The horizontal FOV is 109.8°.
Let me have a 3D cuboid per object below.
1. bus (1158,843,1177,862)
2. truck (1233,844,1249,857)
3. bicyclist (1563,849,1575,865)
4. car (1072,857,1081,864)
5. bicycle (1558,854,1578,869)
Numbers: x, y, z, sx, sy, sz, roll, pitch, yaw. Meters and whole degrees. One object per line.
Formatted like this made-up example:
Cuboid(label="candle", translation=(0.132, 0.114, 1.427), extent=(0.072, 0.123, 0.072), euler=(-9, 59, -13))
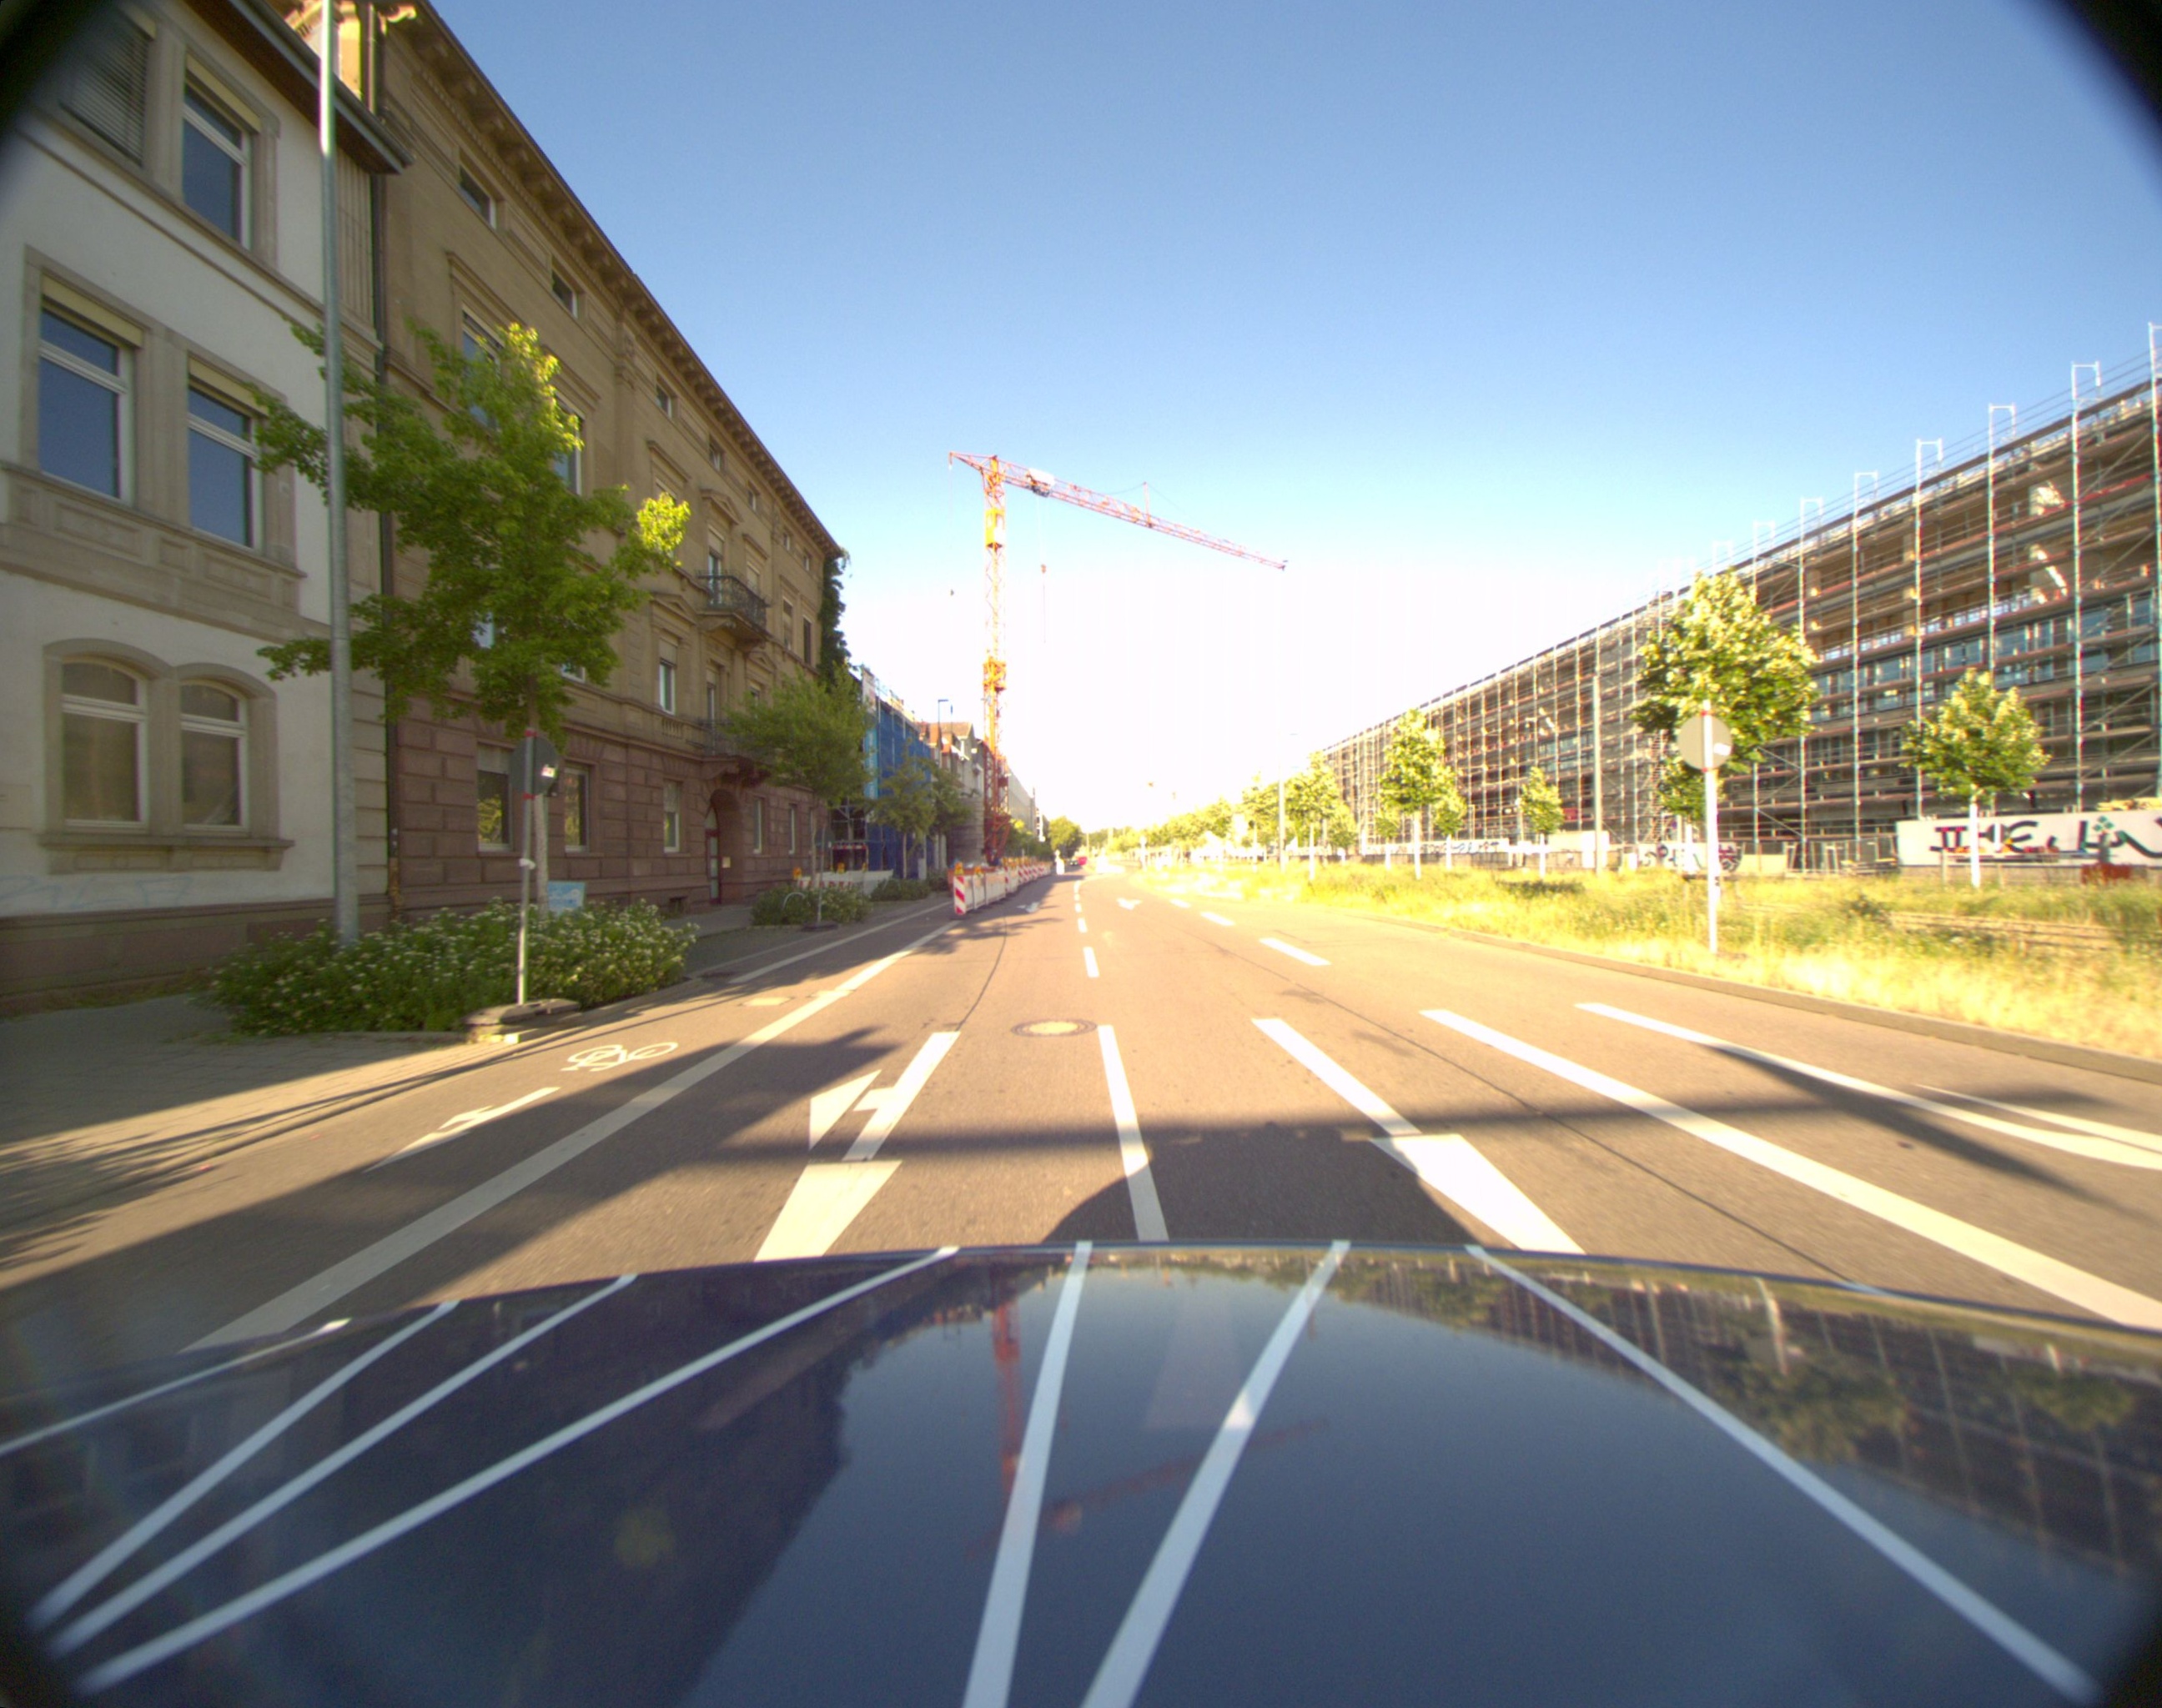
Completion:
Cuboid(label="bus", translation=(15.433, -0.287, 135.895), extent=(2.723, 3.203, 8.658), euler=(-1, 0, 3))
Cuboid(label="truck", translation=(31.173, -0.621, 148.455), extent=(2.143, 2.559, 4.740), euler=(-1, 0, 1))
Cuboid(label="bicyclist", translation=(36.933, 0.213, 57.478), extent=(0.480, 1.147, 0.638), euler=(-1, 0, 0))
Cuboid(label="car", translation=(-1.215, 1.810, 203.218), extent=(1.998, 1.696, 4.000), euler=(-1, 0, 2))
Cuboid(label="bicycle", translation=(36.943, 0.562, 57.646), extent=(0.480, 1.055, 1.564), euler=(-1, 0, 0))
